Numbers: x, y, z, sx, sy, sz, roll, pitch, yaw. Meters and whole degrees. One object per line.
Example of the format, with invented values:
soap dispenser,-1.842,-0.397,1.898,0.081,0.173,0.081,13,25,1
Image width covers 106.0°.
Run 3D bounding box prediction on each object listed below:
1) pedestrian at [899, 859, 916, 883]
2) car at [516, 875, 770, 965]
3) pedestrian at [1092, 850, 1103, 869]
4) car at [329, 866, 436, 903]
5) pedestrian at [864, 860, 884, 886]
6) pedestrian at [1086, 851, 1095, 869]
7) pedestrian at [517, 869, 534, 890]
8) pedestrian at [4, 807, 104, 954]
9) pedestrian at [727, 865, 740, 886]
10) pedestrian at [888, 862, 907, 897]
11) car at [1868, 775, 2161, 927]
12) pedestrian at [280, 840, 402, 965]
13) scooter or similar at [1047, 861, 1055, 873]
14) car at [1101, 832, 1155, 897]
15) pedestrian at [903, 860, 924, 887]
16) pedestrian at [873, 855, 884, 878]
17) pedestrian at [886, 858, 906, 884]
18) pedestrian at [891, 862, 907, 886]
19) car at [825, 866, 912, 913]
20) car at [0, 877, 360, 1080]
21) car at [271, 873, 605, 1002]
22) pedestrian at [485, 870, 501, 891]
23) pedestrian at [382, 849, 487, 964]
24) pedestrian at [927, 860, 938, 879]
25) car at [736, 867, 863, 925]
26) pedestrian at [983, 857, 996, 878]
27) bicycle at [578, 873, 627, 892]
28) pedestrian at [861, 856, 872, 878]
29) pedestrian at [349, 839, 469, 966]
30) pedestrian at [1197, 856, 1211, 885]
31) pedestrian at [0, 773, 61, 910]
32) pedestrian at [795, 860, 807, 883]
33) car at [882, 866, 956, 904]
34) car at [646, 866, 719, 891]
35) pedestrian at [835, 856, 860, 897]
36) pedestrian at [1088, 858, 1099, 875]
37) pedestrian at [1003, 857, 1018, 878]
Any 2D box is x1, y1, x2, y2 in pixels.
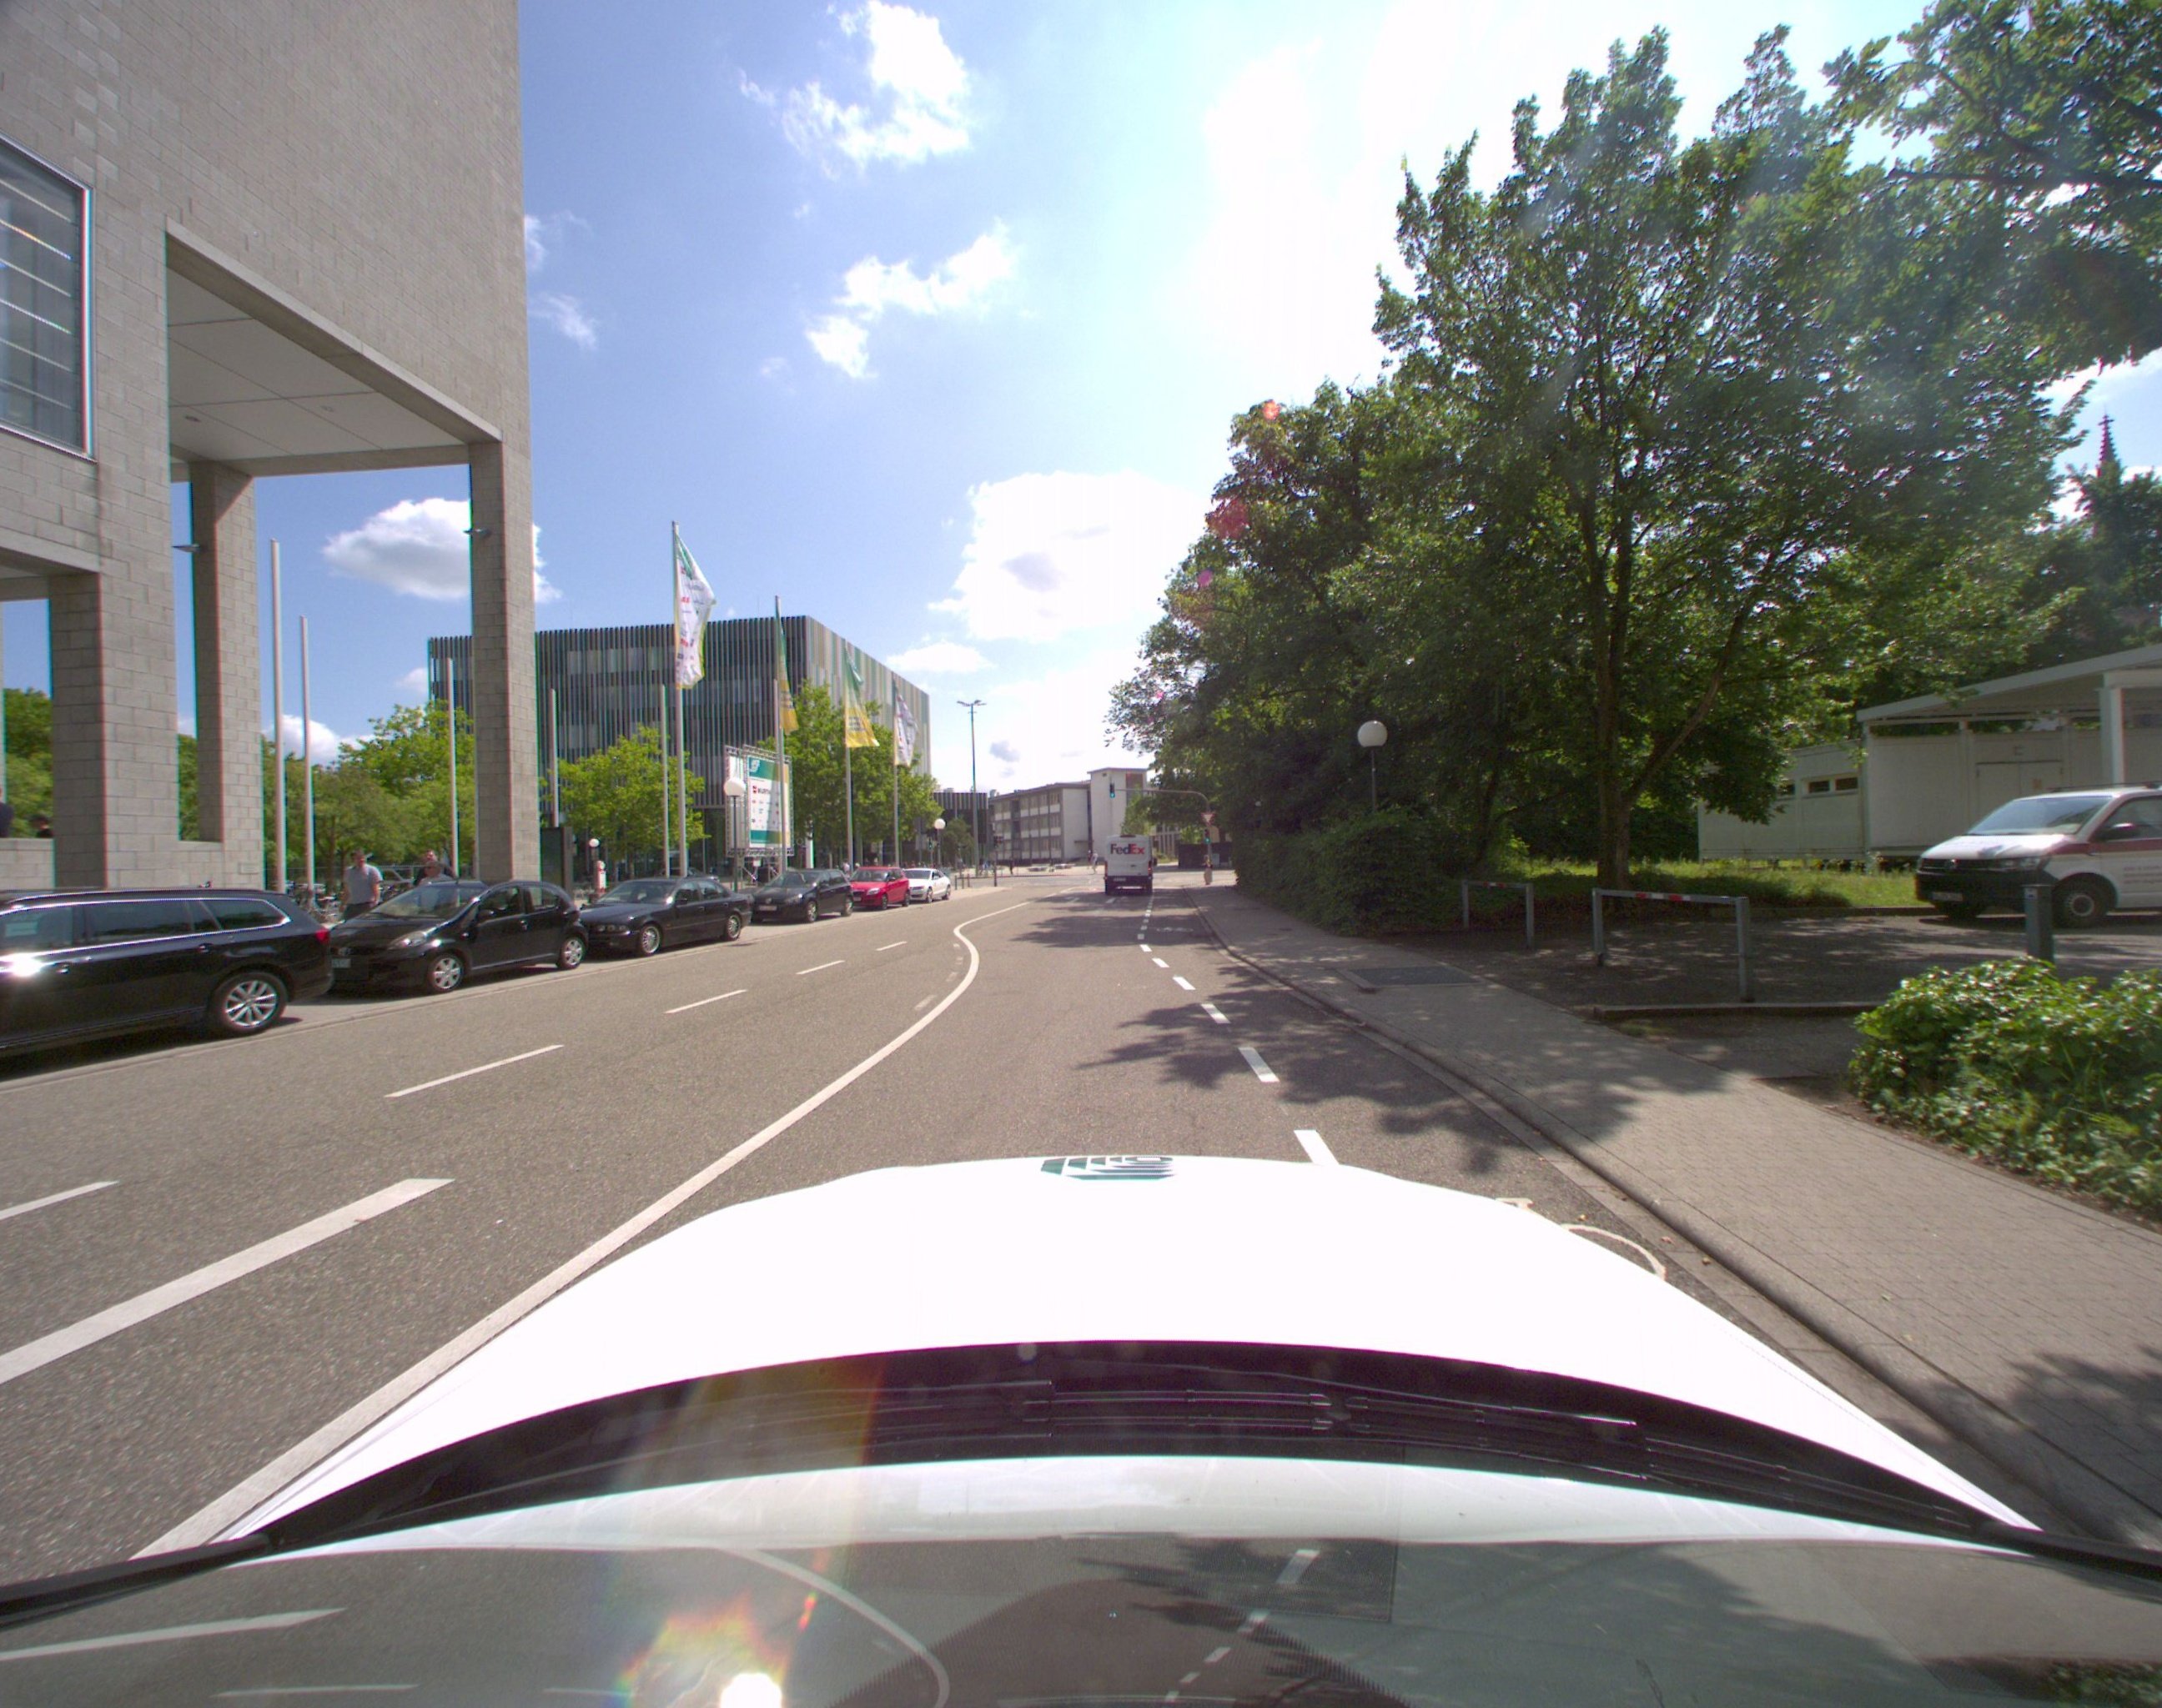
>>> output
pedestrian,-12.415,1.240,58.320,0.818,1.654,0.866,-2,0,23
car,-8.385,1.182,16.287,1.849,1.378,5.026,0,0,7
pedestrian,1.699,0.584,84.743,0.866,1.889,0.909,-1,-1,-14
car,-41.241,1.796,48.139,4.740,1.939,1.867,-2,0,3
pedestrian,-14.885,1.358,58.585,0.844,1.876,1.012,-2,0,28
pedestrian,0.973,0.640,85.540,0.669,1.815,0.812,-1,-1,-14
pedestrian,-57.962,2.668,84.935,0.968,2.176,1.130,-1,-1,5
pedestrian,-17.474,0.432,13.879,0.760,2.422,0.733,-1,-1,-21
pedestrian,-39.178,2.370,91.733,0.968,2.346,1.016,-1,-1,5
pedestrian,-9.920,1.393,44.089,0.715,1.859,0.771,-2,0,7
car,15.190,-0.073,12.067,4.800,2.014,2.065,-2,-1,6
pedestrian,-12.628,0.796,13.942,0.980,2.014,1.165,-2,-1,1
scooter or similar,-2.932,1.251,79.425,0.715,1.178,2.720,-1,0,-5
car,2.154,0.437,35.877,2.085,2.566,5.610,-2,0,5
pedestrian,-11.424,1.313,55.578,0.799,1.807,1.274,-2,0,25
pedestrian,-23.130,1.461,93.022,0.980,2.565,1.003,0,-1,-37
pedestrian,-13.403,1.213,59.043,0.853,1.819,1.103,-2,0,29
pedestrian,-12.529,1.361,56.133,0.766,1.598,0.800,-2,0,7
car,-7.380,1.189,28.659,1.668,1.467,3.918,0,0,6
car,-9.174,0.996,6.775,1.850,1.467,4.726,0,0,5
car,-8.900,1.047,11.739,1.631,1.467,3.712,0,0,5
pedestrian,-62.504,2.819,86.555,0.968,2.201,1.016,-1,-1,5
pedestrian,-11.987,0.941,15.146,0.980,2.014,1.165,-2,-1,1
pedestrian,-13.024,1.373,71.396,0.750,1.678,0.756,-2,0,4
car,-7.972,1.133,23.486,1.738,1.467,4.205,0,0,7
pedestrian,-8.463,1.225,75.359,0.697,1.855,1.404,-2,1,15
bicycle,-29.095,1.753,49.551,2.597,1.113,0.666,-1,-1,3
pedestrian,-24.334,1.469,92.416,0.979,2.565,1.005,0,-1,-31
pedestrian,-11.242,0.780,13.674,0.980,2.014,1.165,-2,-1,1
pedestrian,6.675,0.876,44.238,0.727,1.576,0.776,0,-1,4
pedestrian,-16.264,-0.173,12.150,0.973,2.014,0.912,-1,-1,5
pedestrian,-32.486,2.020,94.360,0.968,2.565,1.016,-1,-1,5
car,-6.622,1.238,33.767,1.668,1.395,4.670,0,0,6
car,-30.292,1.852,62.025,4.784,1.661,1.656,-2,0,6
pedestrian,-10.742,1.028,37.480,0.715,1.851,1.091,0,0,9
pedestrian,1.199,1.154,76.154,0.826,1.523,0.811,-1,-1,-14
pedestrian,-6.412,1.241,74.116,0.822,1.870,1.091,-2,0,29
